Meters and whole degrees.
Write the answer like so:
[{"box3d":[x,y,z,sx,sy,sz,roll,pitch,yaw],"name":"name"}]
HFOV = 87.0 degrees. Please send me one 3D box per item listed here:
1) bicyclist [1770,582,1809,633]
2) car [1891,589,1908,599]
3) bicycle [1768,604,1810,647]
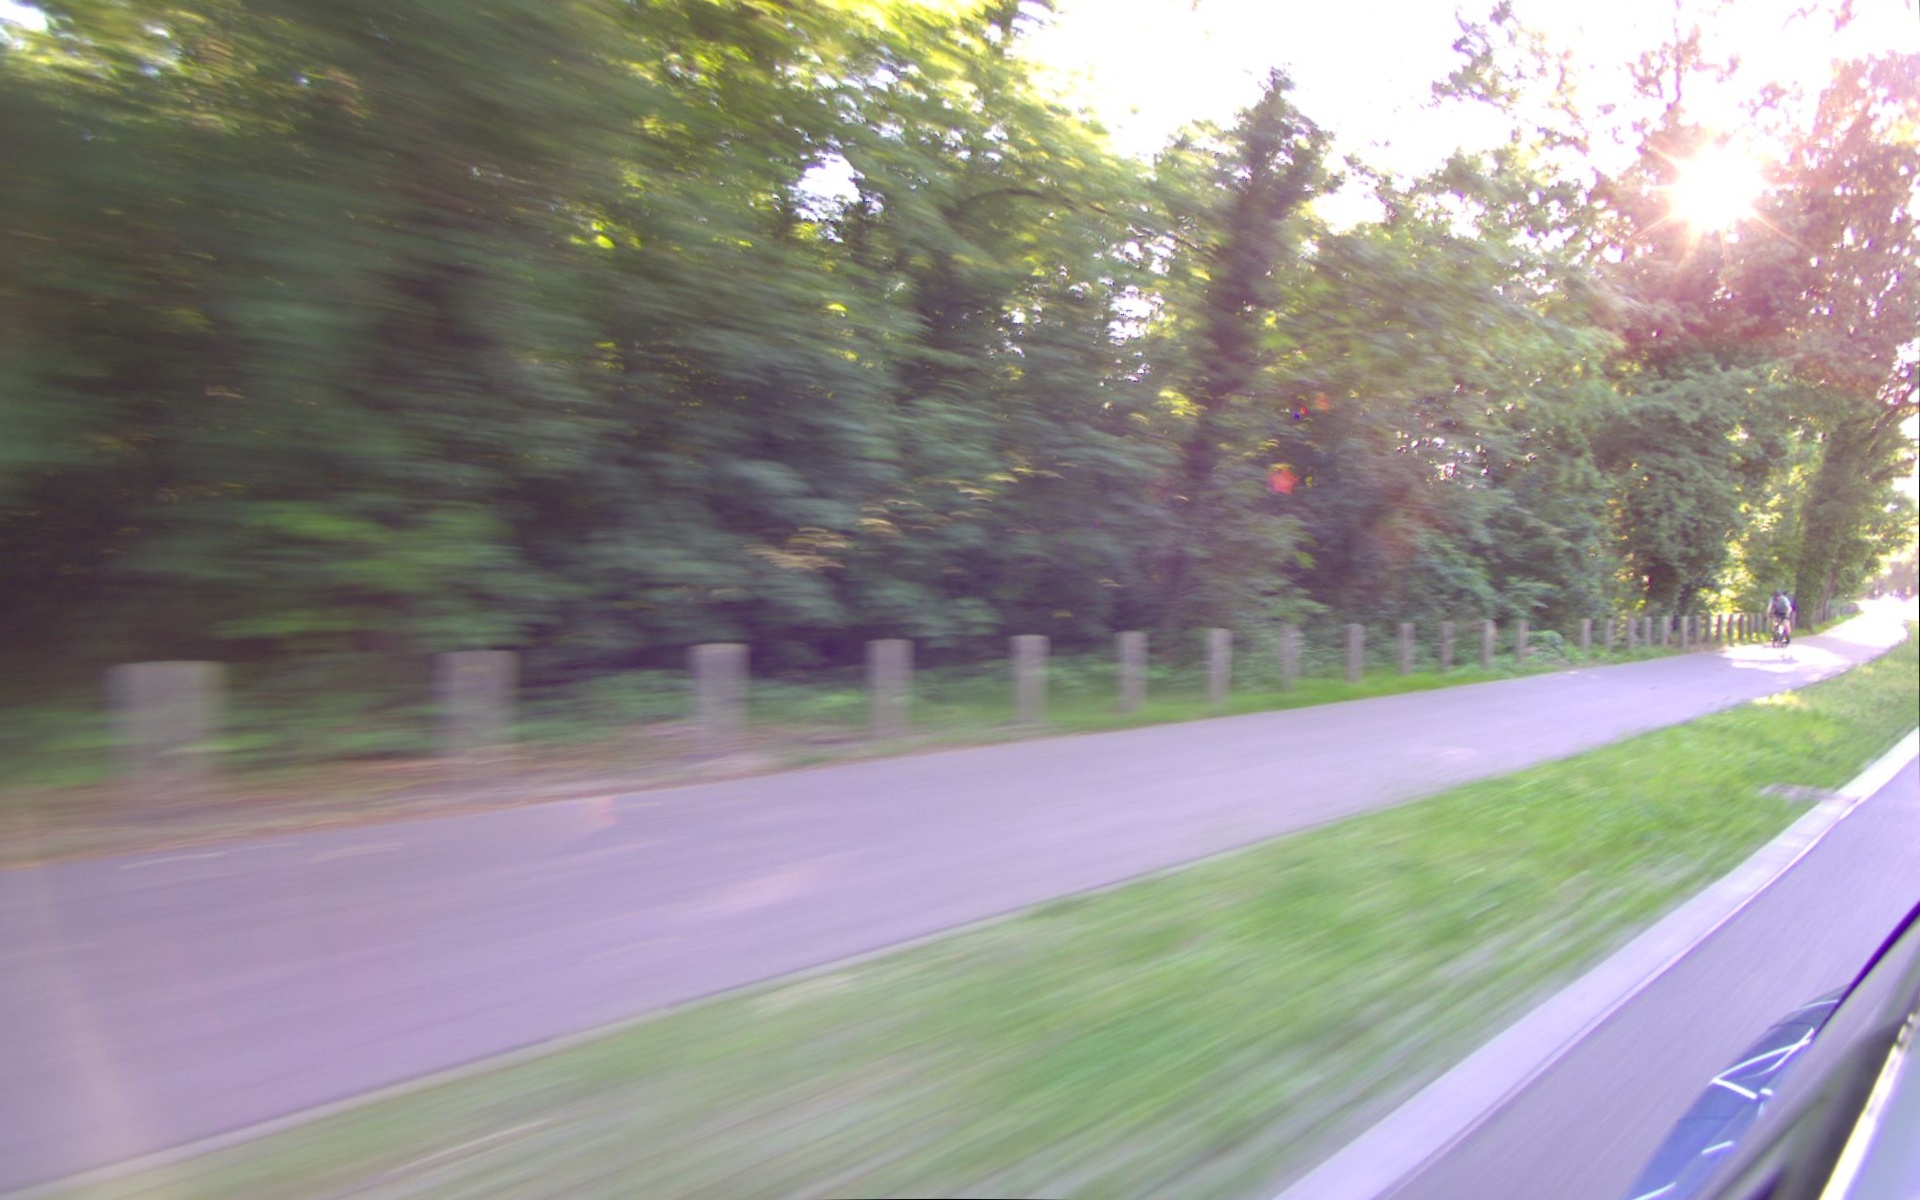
[{"box3d":[22.029,0.195,26.880,0.712,1.305,1.087,1,1,44],"name":"bicyclist"},{"box3d":[163.550,-1.040,176.168,1.818,1.705,3.946,2,2,38],"name":"car"},{"box3d":[22.066,0.650,26.924,0.712,1.069,2.020,1,1,44],"name":"bicycle"}]
